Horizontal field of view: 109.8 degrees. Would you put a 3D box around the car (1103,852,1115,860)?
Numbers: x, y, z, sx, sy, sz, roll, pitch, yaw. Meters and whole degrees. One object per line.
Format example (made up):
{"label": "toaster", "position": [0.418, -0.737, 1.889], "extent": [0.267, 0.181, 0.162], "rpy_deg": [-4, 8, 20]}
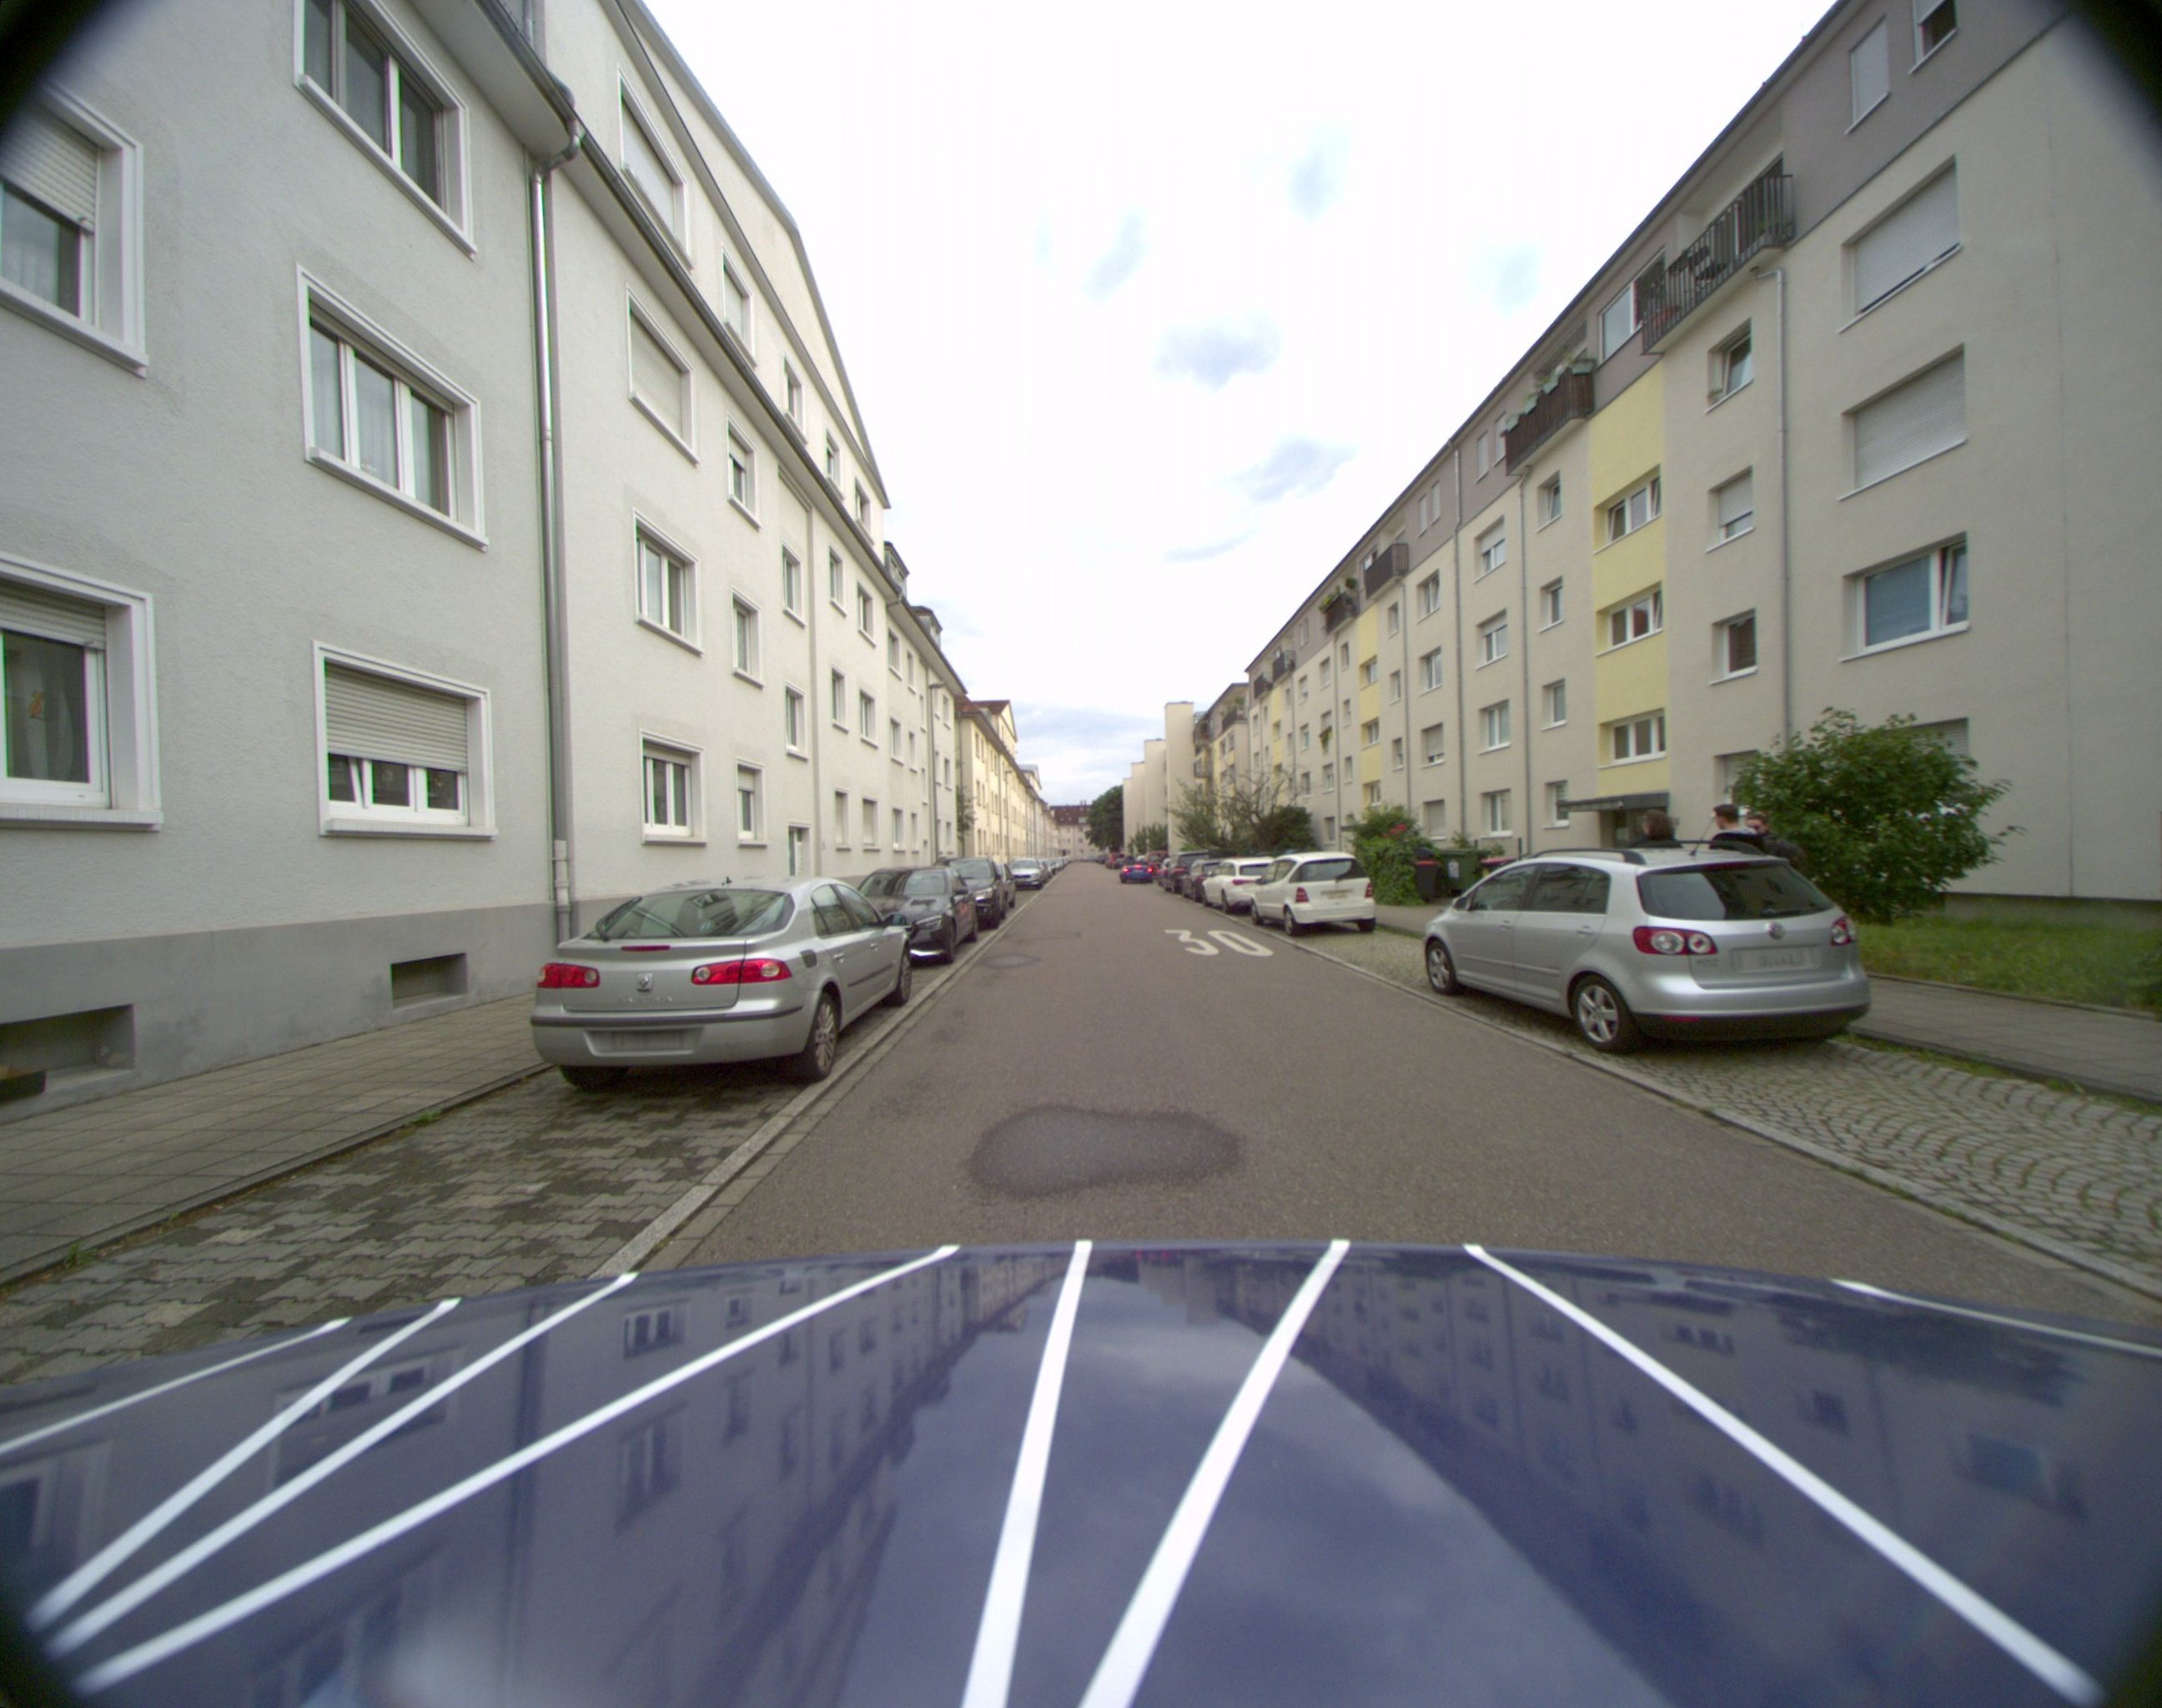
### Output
{"label": "car", "position": [5.038, 0.368, 136.472], "extent": [1.746, 1.534, 3.636], "rpy_deg": [-2, 0, -6]}

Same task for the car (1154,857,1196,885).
{"label": "car", "position": [4.846, 0.856, 39.662], "extent": [1.575, 1.389, 3.541], "rpy_deg": [-1, 0, -3]}

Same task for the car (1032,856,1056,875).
{"label": "car", "position": [-2.847, 0.849, 58.868], "extent": [1.737, 1.402, 4.217], "rpy_deg": [-1, 0, -1]}

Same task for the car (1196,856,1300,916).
{"label": "car", "position": [4.606, 0.832, 21.640], "extent": [1.723, 1.501, 4.686], "rpy_deg": [-1, 0, -3]}

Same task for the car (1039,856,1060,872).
{"label": "car", "position": [-2.703, 0.848, 66.578], "extent": [1.737, 1.363, 4.217], "rpy_deg": [-1, 0, -1]}

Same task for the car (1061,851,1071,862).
{"label": "car", "position": [-2.463, 0.434, 124.575], "extent": [1.737, 1.670, 3.591], "rpy_deg": [-1, 0, -1]}

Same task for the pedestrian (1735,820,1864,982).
{"label": "pedestrian", "position": [7.741, 0.482, 8.219], "extent": [0.616, 1.647, 0.803], "rpy_deg": [-2, 0, 0]}

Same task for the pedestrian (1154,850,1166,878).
{"label": "pedestrian", "position": [4.696, 0.602, 45.374], "extent": [0.603, 1.657, 0.622], "rpy_deg": [-2, 0, -3]}

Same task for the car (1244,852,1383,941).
{"label": "car", "position": [4.743, 0.793, 16.036], "extent": [1.689, 1.629, 3.727], "rpy_deg": [-1, 0, -1]}

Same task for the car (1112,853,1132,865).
{"label": "car", "position": [4.860, 0.589, 90.371], "extent": [2.013, 1.436, 4.196], "rpy_deg": [-1, 0, -3]}

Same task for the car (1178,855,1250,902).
{"label": "car", "position": [4.587, 0.803, 26.822], "extent": [1.729, 1.445, 4.482], "rpy_deg": [-1, 0, 0]}

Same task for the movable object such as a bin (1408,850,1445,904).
{"label": "movable object such as a bin", "position": [9.038, 0.590, 19.880], "extent": [0.659, 1.360, 0.587], "rpy_deg": [-2, 2, -4]}

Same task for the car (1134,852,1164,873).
{"label": "car", "position": [5.028, 0.623, 56.404], "extent": [1.707, 1.436, 3.541], "rpy_deg": [-1, 0, -3]}

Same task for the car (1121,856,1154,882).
{"label": "car", "position": [3.305, 0.853, 44.766], "extent": [1.680, 1.307, 3.907], "rpy_deg": [-1, 1, 1]}

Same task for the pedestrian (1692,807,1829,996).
{"label": "pedestrian", "position": [6.993, 0.465, 7.857], "extent": [0.708, 1.843, 0.763], "rpy_deg": [-2, 0, 0]}

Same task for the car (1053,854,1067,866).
{"label": "car", "position": [-2.615, 0.737, 95.548], "extent": [1.737, 1.443, 4.217], "rpy_deg": [-1, 0, -1]}

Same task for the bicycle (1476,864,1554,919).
{"label": "bicycle", "position": [8.708, 0.723, 15.341], "extent": [0.489, 1.018, 1.878], "rpy_deg": [-2, 0, 0]}

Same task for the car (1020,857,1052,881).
{"label": "car", "position": [-2.772, 0.909, 47.626], "extent": [1.737, 1.418, 4.217], "rpy_deg": [-1, 0, 0]}

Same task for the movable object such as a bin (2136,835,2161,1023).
{"label": "movable object such as a bin", "position": [8.901, 0.534, 4.998], "extent": [1.593, 1.412, 1.671], "rpy_deg": [-2, 0, -1]}

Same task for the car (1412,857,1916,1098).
{"label": "car", "position": [4.751, 0.834, 7.038], "extent": [1.658, 1.541, 3.915], "rpy_deg": [-2, 0, 1]}

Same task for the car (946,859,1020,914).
{"label": "car", "position": [-2.862, 0.901, 22.932], "extent": [1.737, 1.478, 3.756], "rpy_deg": [-1, 0, 0]}

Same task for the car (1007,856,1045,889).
{"label": "car", "position": [-2.749, 0.889, 38.712], "extent": [1.737, 1.538, 3.677], "rpy_deg": [-1, 0, -1]}

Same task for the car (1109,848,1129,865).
{"label": "car", "position": [4.800, 0.346, 96.605], "extent": [2.188, 2.019, 4.422], "rpy_deg": [-1, 0, -3]}

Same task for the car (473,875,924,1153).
{"label": "car", "position": [-2.654, 0.982, 6.597], "extent": [1.737, 1.454, 4.430], "rpy_deg": [-1, 0, -1]}

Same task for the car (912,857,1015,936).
{"label": "car", "position": [-2.618, 0.891, 17.872], "extent": [1.853, 1.589, 4.159], "rpy_deg": [-1, 0, -1]}

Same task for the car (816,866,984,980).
{"label": "car", "position": [-2.711, 0.962, 12.401], "extent": [1.786, 1.454, 4.322], "rpy_deg": [-1, 0, -1]}

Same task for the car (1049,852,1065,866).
{"label": "car", "position": [-2.652, 0.576, 85.755], "extent": [1.737, 1.443, 4.217], "rpy_deg": [-1, 0, -1]}

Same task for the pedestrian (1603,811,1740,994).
{"label": "pedestrian", "position": [6.403, 0.500, 8.293], "extent": [0.642, 1.853, 0.974], "rpy_deg": [-3, 0, 0]}

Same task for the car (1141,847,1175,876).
{"label": "car", "position": [5.061, 0.475, 50.215], "extent": [1.707, 1.795, 3.541], "rpy_deg": [-1, 0, -3]}

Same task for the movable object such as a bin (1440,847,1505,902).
{"label": "movable object such as a bin", "position": [10.492, 0.523, 20.395], "extent": [1.059, 1.367, 1.188], "rpy_deg": [-2, 2, -5]}

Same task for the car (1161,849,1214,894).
{"label": "car", "position": [4.522, 0.732, 32.851], "extent": [1.575, 1.769, 4.452], "rpy_deg": [-1, 0, -1]}

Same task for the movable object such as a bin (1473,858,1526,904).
{"label": "movable object such as a bin", "position": [10.634, 0.671, 19.330], "extent": [0.871, 1.103, 0.787], "rpy_deg": [-2, 2, -4]}
